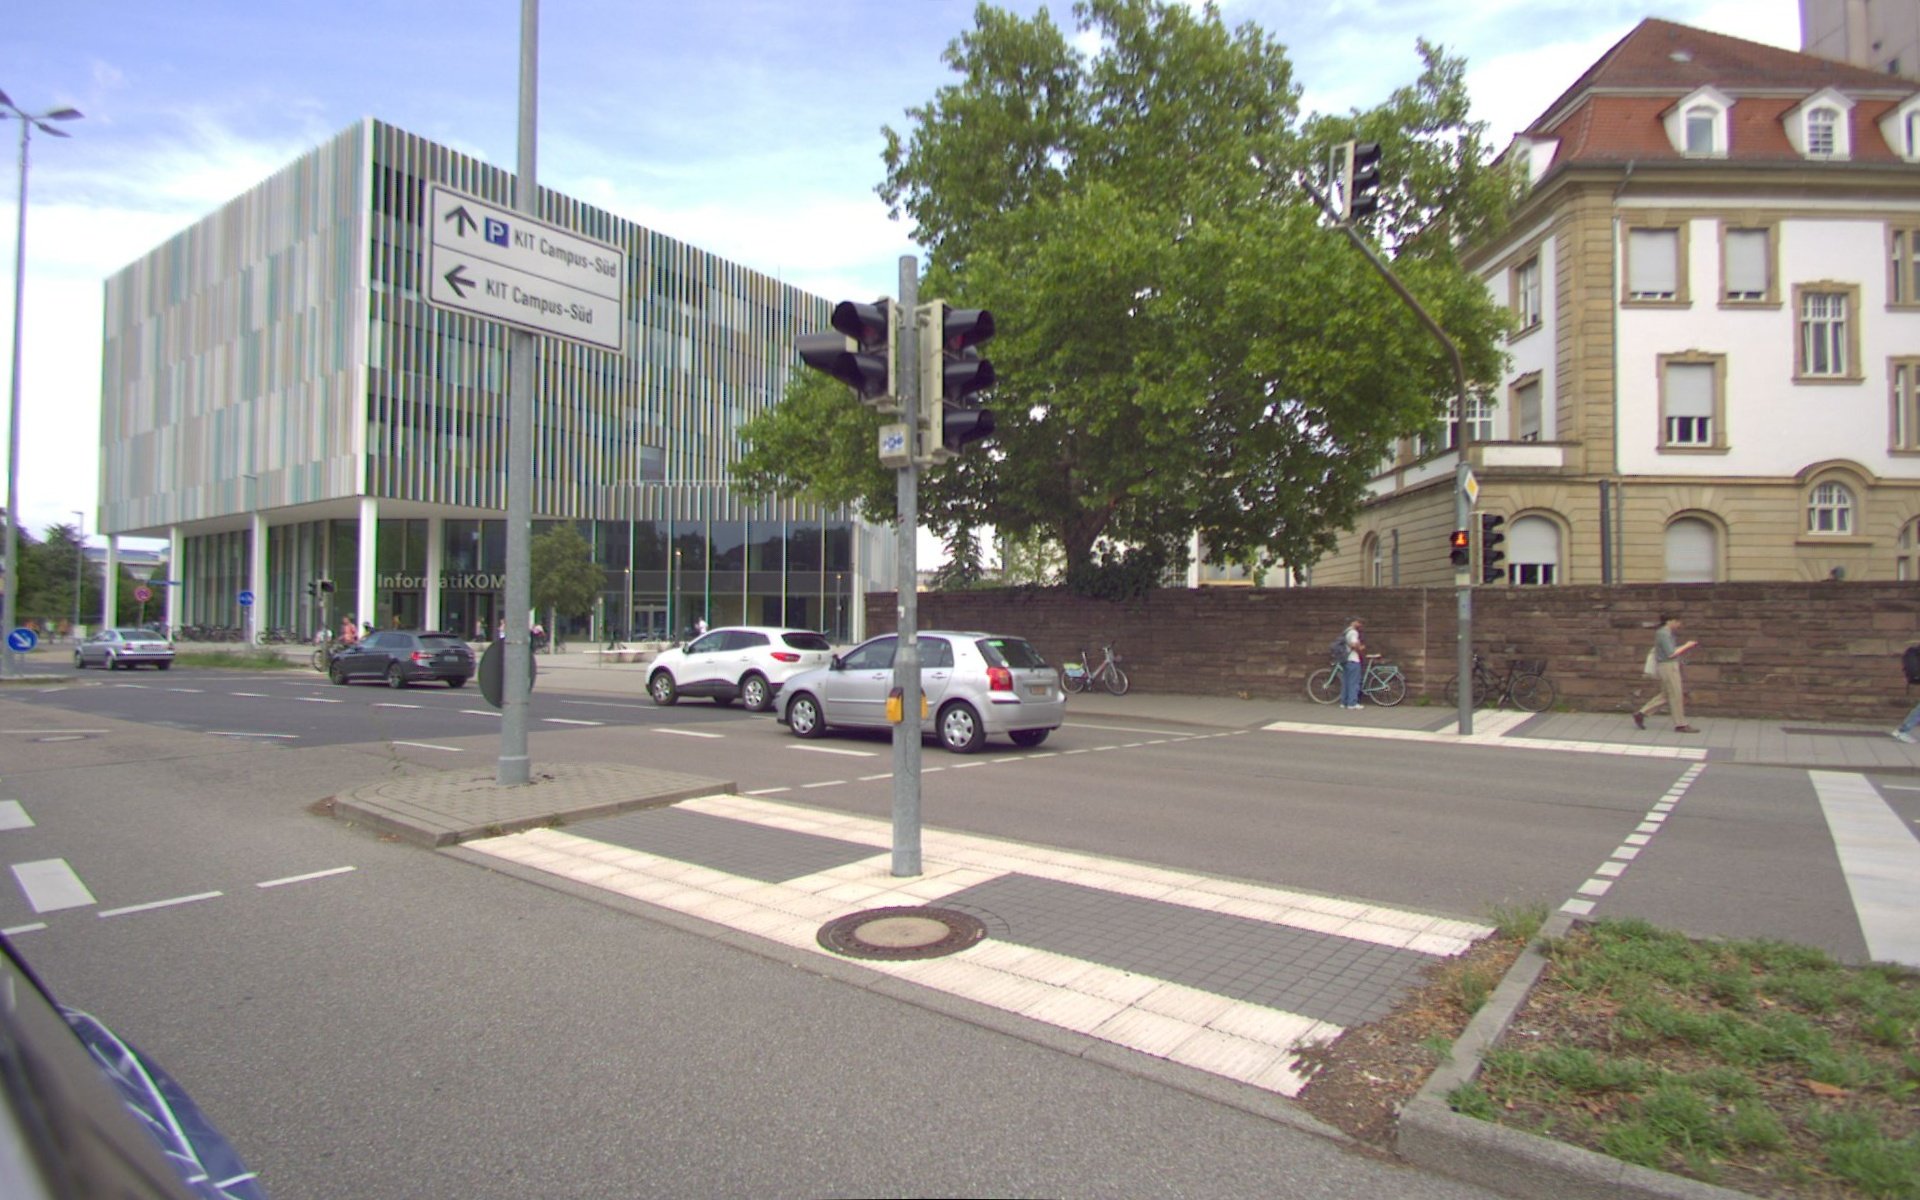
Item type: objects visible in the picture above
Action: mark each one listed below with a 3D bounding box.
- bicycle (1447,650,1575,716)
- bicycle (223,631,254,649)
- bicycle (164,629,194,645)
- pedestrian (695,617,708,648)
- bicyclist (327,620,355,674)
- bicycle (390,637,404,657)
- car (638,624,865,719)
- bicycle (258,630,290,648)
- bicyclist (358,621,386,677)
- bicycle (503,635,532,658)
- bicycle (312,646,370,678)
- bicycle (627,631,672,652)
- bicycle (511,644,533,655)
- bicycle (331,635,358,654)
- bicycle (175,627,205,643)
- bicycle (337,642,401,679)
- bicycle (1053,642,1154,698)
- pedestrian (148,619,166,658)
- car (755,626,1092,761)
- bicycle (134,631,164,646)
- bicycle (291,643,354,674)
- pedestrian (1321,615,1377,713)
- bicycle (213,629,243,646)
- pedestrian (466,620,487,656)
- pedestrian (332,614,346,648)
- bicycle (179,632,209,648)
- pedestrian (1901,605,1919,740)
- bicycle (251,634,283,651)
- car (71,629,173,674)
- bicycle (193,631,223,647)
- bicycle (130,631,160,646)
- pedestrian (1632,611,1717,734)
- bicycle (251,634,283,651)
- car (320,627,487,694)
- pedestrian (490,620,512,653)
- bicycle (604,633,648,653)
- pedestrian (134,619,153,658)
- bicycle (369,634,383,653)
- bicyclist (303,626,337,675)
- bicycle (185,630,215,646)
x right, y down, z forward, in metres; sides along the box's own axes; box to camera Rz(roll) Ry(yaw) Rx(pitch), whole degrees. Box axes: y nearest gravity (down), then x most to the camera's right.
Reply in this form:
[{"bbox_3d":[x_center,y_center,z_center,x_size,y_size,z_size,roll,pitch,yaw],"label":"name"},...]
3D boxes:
[{"bbox_3d":[9.829,1.459,18.090,1.975,1.066,0.544,-1,1,33],"label":"bicycle"},{"bbox_3d":[-45.576,2.511,63.959,0.388,1.031,1.565,-1,0,31],"label":"bicycle"},{"bbox_3d":[-53.310,2.514,69.078,0.388,1.031,1.565,-1,0,31],"label":"bicycle"},{"bbox_3d":[-15.065,1.892,58.981,0.626,1.792,0.597,0,-2,-9],"label":"pedestrian"},{"bbox_3d":[-21.112,1.601,34.541,0.558,1.820,0.597,-1,0,22],"label":"bicyclist"},{"bbox_3d":[-29.996,2.496,53.904,0.387,0.944,1.603,-1,0,-21],"label":"bicycle"},{"bbox_3d":[-4.142,1.304,19.801,4.412,1.665,1.848,-1,-2,35],"label":"car"},{"bbox_3d":[-40.598,2.310,59.871,0.398,1.002,1.529,-1,0,32],"label":"bicycle"},{"bbox_3d":[-19.683,1.635,33.879,0.558,1.820,0.597,-1,0,22],"label":"bicyclist"},{"bbox_3d":[-19.467,2.043,44.528,1.747,1.006,0.434,-2,-2,40],"label":"bicycle"},{"bbox_3d":[-21.105,2.111,34.544,0.568,0.996,1.679,-1,0,22],"label":"bicycle"},{"bbox_3d":[-16.348,2.168,53.411,0.791,1.098,2.664,0,-2,21],"label":"bicycle"},{"bbox_3d":[-22.914,2.609,53.003,0.613,0.526,2.255,0,-2,-11],"label":"bicycle"},{"bbox_3d":[-32.995,2.370,54.236,0.389,0.944,1.609,-1,0,3],"label":"bicycle"},{"bbox_3d":[-52.074,2.352,68.452,0.388,1.031,1.565,0,-4,31],"label":"bicycle"},{"bbox_3d":[-19.704,2.004,33.770,0.602,1.179,1.882,-1,-2,21],"label":"bicycle"},{"bbox_3d":[3.157,1.519,22.329,2.160,1.134,0.572,-1,1,35],"label":"bicycle"},{"bbox_3d":[-38.997,1.870,49.156,0.623,1.851,0.506,-2,-3,36],"label":"pedestrian"},{"bbox_3d":[-0.571,1.103,13.299,4.281,1.500,1.785,-1,-2,37],"label":"car"},{"bbox_3d":[-59.134,2.799,73.793,0.433,1.031,1.686,-1,0,31],"label":"bicycle"},{"bbox_3d":[-22.464,2.060,35.717,0.724,0.996,1.809,-1,0,22],"label":"bicycle"},{"bbox_3d":[7.316,1.189,19.070,0.774,1.796,0.746,1,-1,5],"label":"pedestrian"},{"bbox_3d":[-47.215,2.437,65.309,0.388,1.031,1.565,-1,0,31],"label":"bicycle"},{"bbox_3d":[-23.704,1.848,49.643,0.669,1.753,0.730,0,-2,2],"label":"pedestrian"},{"bbox_3d":[-38.431,1.936,62.655,0.623,2.059,0.506,-2,-3,35],"label":"pedestrian"},{"bbox_3d":[-51.599,2.674,68.182,0.388,1.031,1.565,-1,0,31],"label":"bicycle"},{"bbox_3d":[13.124,0.969,13.314,0.775,1.796,0.759,1,-1,10],"label":"pedestrian"},{"bbox_3d":[-41.744,2.543,60.977,0.388,0.944,1.530,-1,0,31],"label":"bicycle"},{"bbox_3d":[-29.554,1.763,35.658,4.537,1.500,1.745,-1,-2,37],"label":"car"},{"bbox_3d":[-49.451,2.560,66.572,0.388,1.031,1.565,-1,0,31],"label":"bicycle"},{"bbox_3d":[-59.830,2.826,74.280,0.433,1.031,1.686,-1,0,31],"label":"bicycle"},{"bbox_3d":[10.823,1.074,15.357,0.774,1.796,0.745,1,-1,7],"label":"pedestrian"},{"bbox_3d":[-41.329,2.540,60.372,0.392,0.944,1.530,-1,0,31],"label":"bicycle"},{"bbox_3d":[-14.745,1.527,26.750,4.731,1.628,1.882,-1,-2,34],"label":"car"},{"bbox_3d":[-22.617,1.773,49.869,0.670,1.612,0.729,0,-2,5],"label":"pedestrian"},{"bbox_3d":[-17.651,2.276,53.503,0.668,1.007,2.664,0,-2,21],"label":"bicycle"},{"bbox_3d":[-39.189,1.835,48.573,0.771,1.851,0.506,-2,-3,36],"label":"pedestrian"},{"bbox_3d":[-31.028,2.312,53.779,0.387,0.944,1.603,-1,0,-21],"label":"bicycle"},{"bbox_3d":[-22.514,1.756,35.604,0.719,1.685,0.723,-1,0,22],"label":"bicyclist"},{"bbox_3d":[-50.932,2.527,67.801,0.388,1.031,1.565,-1,0,31],"label":"bicycle"}]
